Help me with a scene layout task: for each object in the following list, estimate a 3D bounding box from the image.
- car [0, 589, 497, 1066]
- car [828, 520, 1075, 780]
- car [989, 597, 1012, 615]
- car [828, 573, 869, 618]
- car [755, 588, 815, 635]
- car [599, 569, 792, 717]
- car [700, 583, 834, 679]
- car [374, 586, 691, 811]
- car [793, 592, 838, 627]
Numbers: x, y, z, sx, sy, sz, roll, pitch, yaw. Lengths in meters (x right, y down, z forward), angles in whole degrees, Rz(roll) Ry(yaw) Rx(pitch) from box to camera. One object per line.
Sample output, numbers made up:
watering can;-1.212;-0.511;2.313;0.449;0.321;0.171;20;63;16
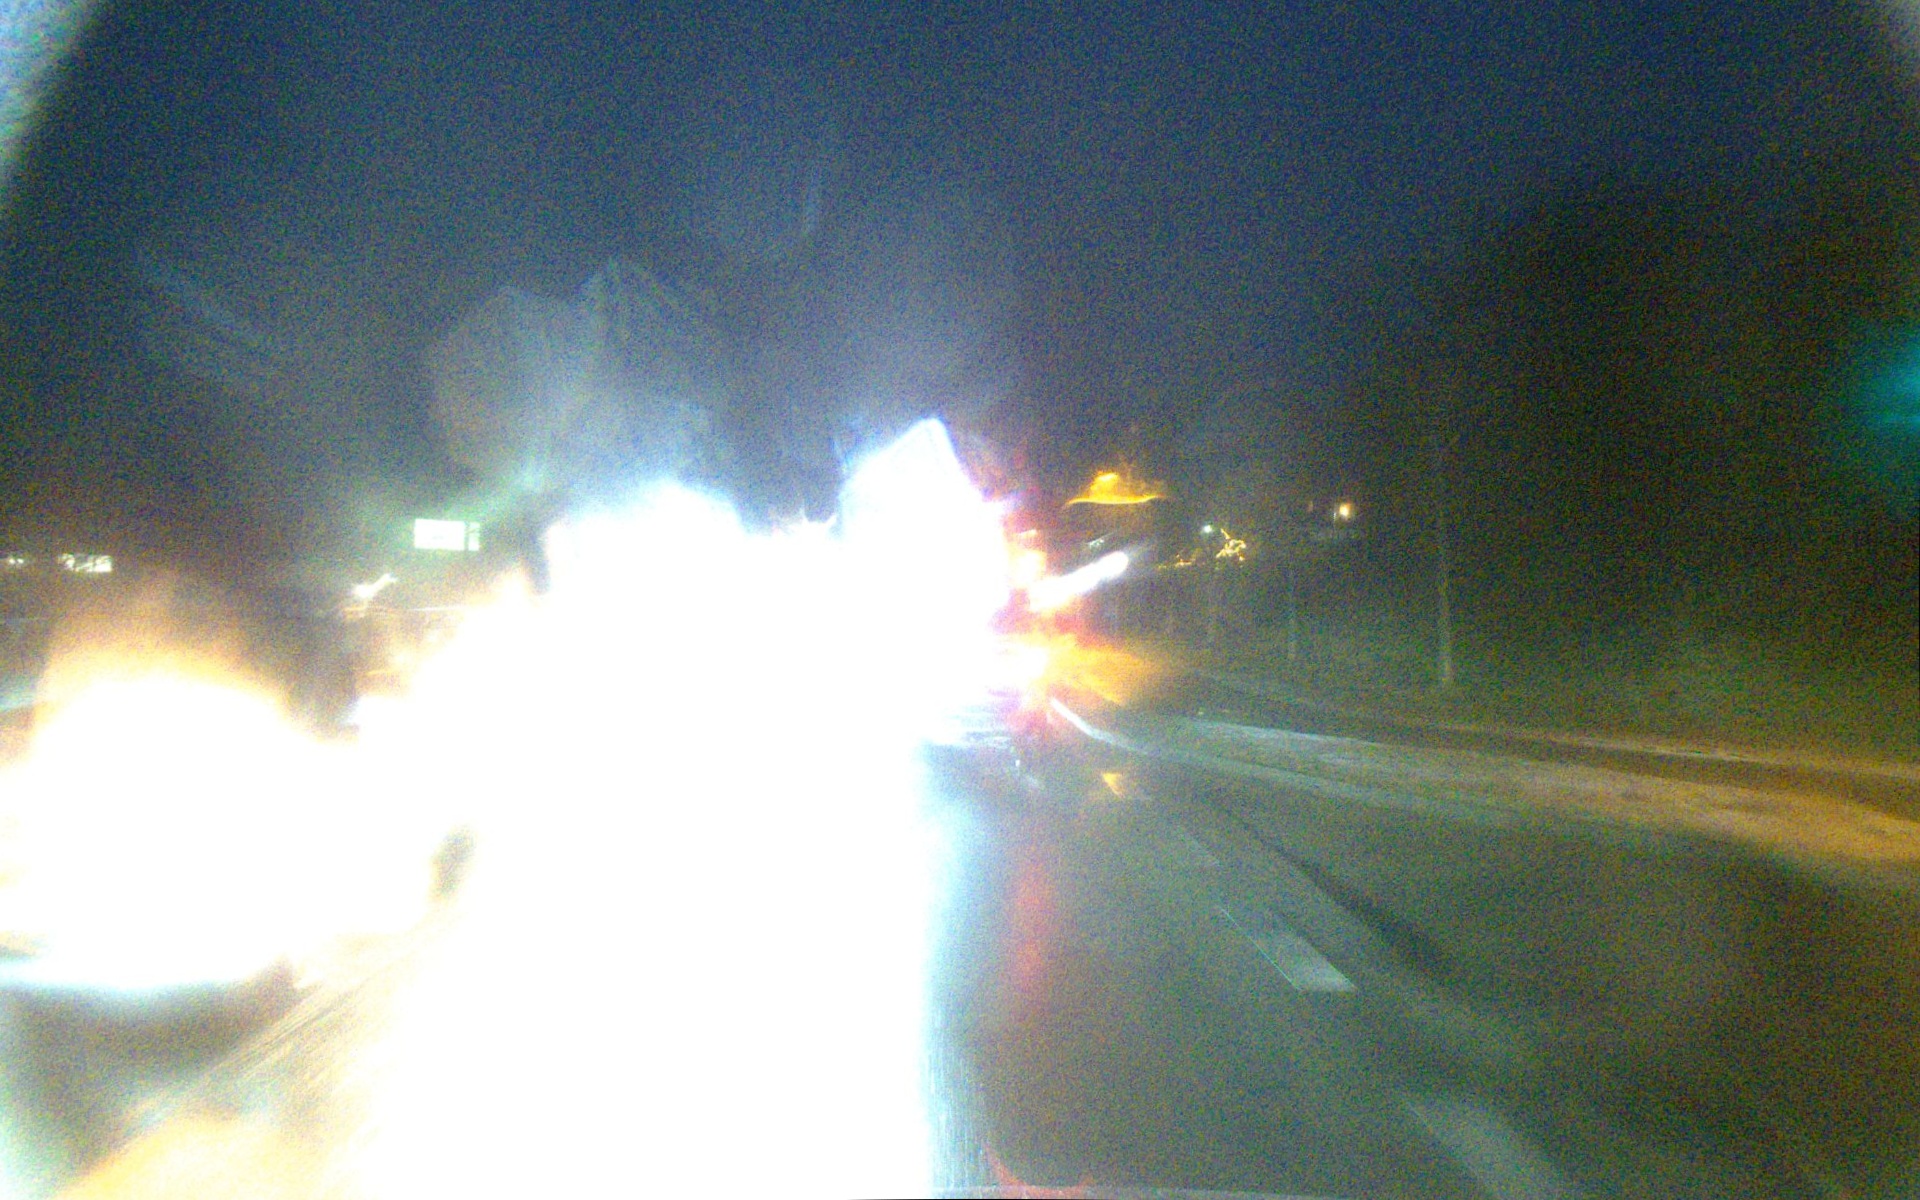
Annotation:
car;-3.185;0.708;7.029;1.636;1.498;3.630;0;0;-4
car;-0.112;0.381;15.007;1.903;2.006;4.217;1;0;-2
car;3.420;0.520;138.278;1.628;1.475;4.052;0;-1;6
car;-7.045;-0.284;104.958;2.079;2.755;6.240;1;0;0
car;-6.475;0.414;61.486;1.768;1.658;4.415;1;0;0
car;-3.276;0.480;21.314;1.806;1.698;4.445;0;0;-1
car;-3.407;0.507;29.977;1.806;1.602;4.597;0;0;1
car;-3.174;0.649;13.018;1.589;1.498;3.883;0;0;-2
car;-6.568;0.417;75.318;1.685;1.534;3.827;1;0;0
